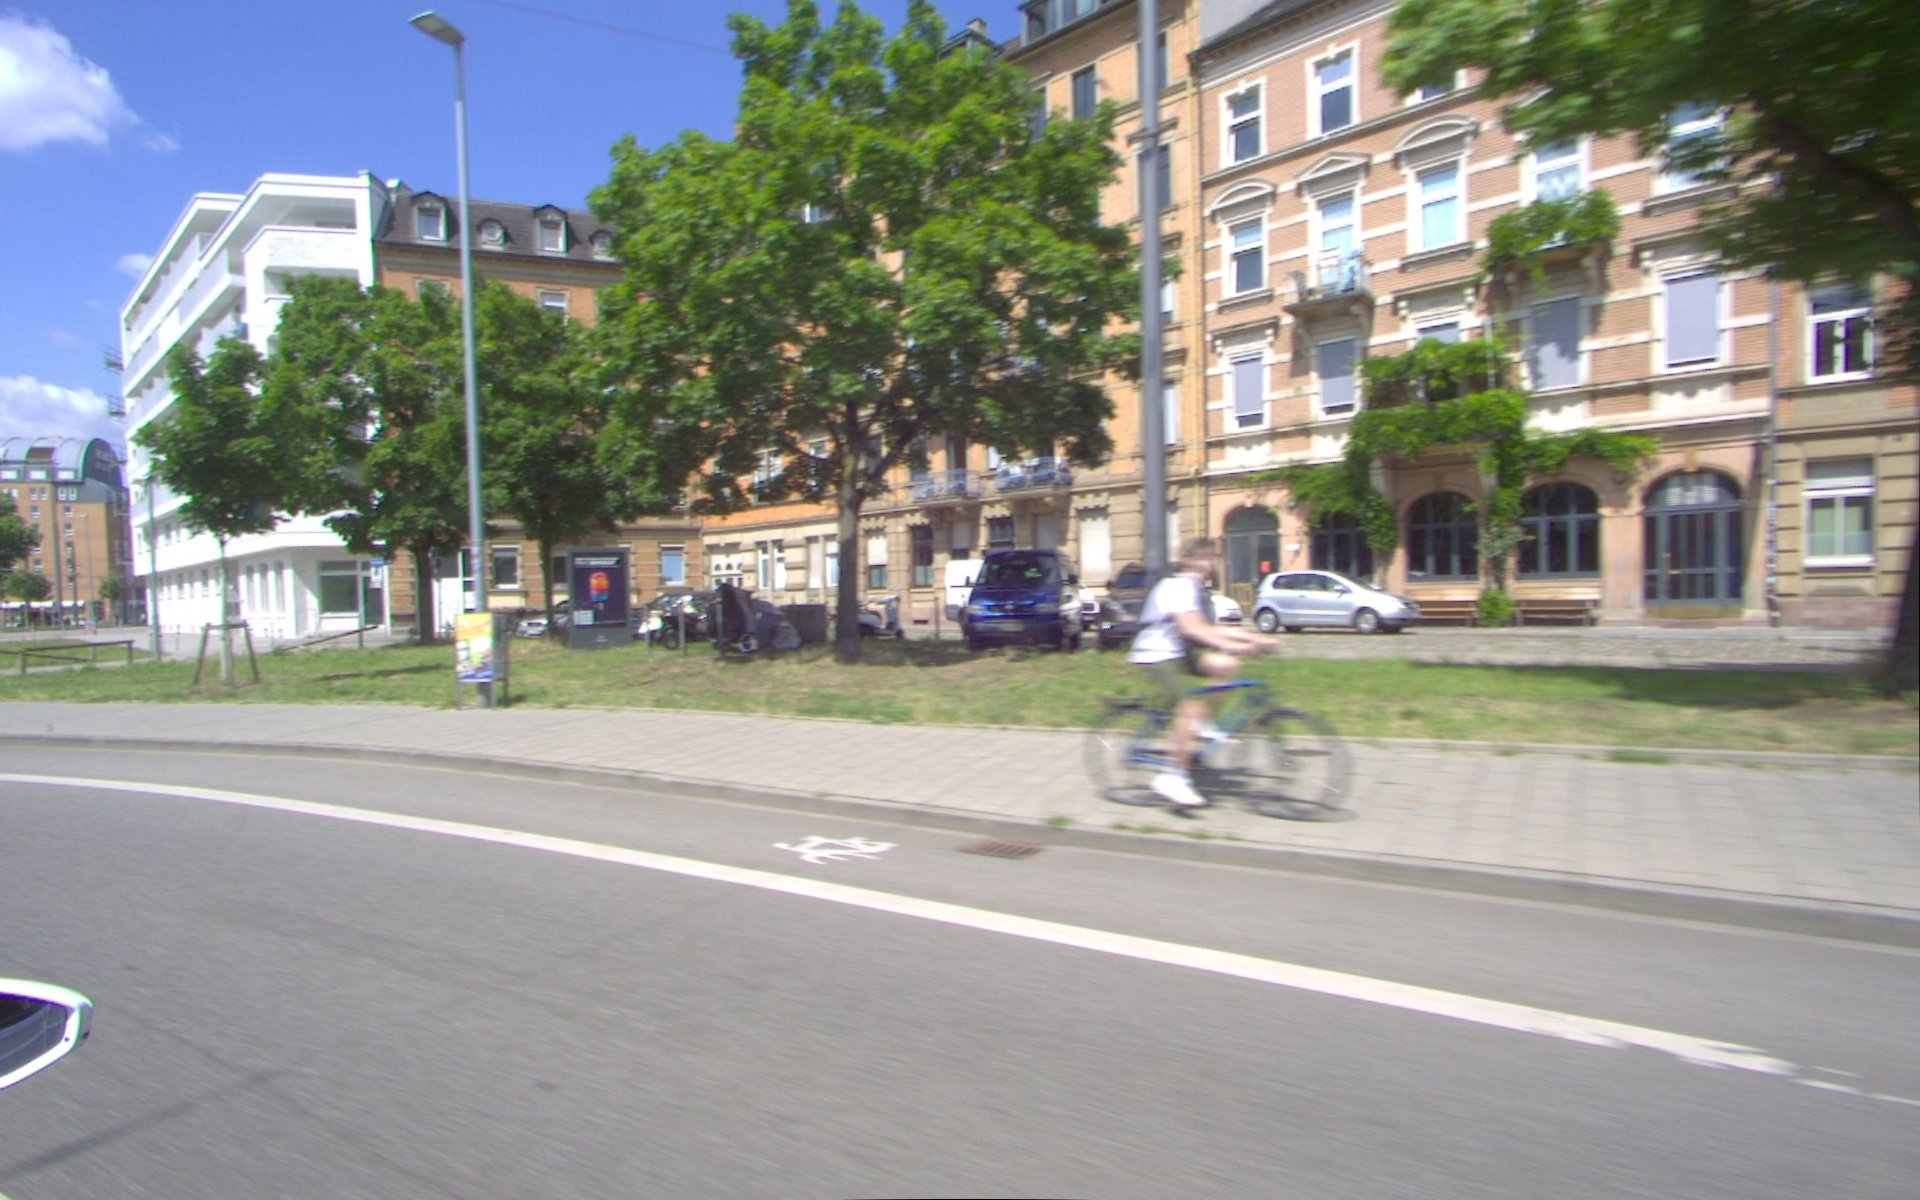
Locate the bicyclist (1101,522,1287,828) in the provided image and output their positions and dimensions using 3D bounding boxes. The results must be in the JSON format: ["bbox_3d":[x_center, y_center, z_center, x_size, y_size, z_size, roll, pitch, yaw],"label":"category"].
[{"bbox_3d":[1.556,0.460,6.615,0.942,1.850,0.692,-1,6,31],"label":"bicyclist"}]

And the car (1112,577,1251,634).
[{"bbox_3d":[5.846,0.152,26.659,1.553,1.422,3.318,-2,1,-44],"label":"car"}]

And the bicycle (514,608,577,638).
[{"bbox_3d":[-14.145,0.769,34.271,0.534,0.968,2.387,-1,-1,19],"label":"bicycle"}]

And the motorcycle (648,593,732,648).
[{"bbox_3d":[-6.115,0.446,22.727,0.633,1.182,1.773,-1,1,42],"label":"motorcycle"}]

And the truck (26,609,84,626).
[{"bbox_3d":[-115.303,2.234,127.622,5.415,2.113,2.000,-1,0,-1],"label":"truck"}]

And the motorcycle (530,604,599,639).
[{"bbox_3d":[-13.296,0.721,33.737,0.798,1.140,2.387,-1,-1,19],"label":"motorcycle"}]

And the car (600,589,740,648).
[{"bbox_3d":[-7.850,0.460,27.531,1.772,1.446,4.254,-1,0,14],"label":"car"}]

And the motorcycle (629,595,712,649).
[{"bbox_3d":[-6.726,0.485,23.302,0.633,1.182,1.773,-1,1,42],"label":"motorcycle"}]

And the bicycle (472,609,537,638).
[{"bbox_3d":[-15.855,0.801,34.905,0.534,0.982,2.387,-1,-1,19],"label":"bicycle"}]

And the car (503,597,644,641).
[{"bbox_3d":[-11.866,0.580,31.055,1.831,1.260,4.157,-1,-1,19],"label":"car"}]

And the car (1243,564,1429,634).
[{"bbox_3d":[8.864,0.020,23.783,3.813,1.511,1.649,-2,-1,44],"label":"car"}]

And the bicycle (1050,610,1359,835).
[{"bbox_3d":[1.600,0.751,6.631,1.813,1.260,0.691,-2,6,32],"label":"bicycle"}]

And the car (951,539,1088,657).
[{"bbox_3d":[1.285,0.001,19.292,1.881,1.952,4.626,-1,-1,13],"label":"car"}]

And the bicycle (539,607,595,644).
[{"bbox_3d":[-9.986,0.651,25.423,1.800,0.913,0.539,-1,0,40],"label":"bicycle"}]

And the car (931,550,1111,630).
[{"bbox_3d":[1.748,-0.219,30.168,5.338,2.207,2.098,-2,-1,44],"label":"car"}]

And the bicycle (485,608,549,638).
[{"bbox_3d":[-15.324,0.789,34.719,0.534,0.982,2.387,-1,-1,19],"label":"bicycle"}]

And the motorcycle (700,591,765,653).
[{"bbox_3d":[-4.667,0.436,20.435,0.631,1.182,1.894,-2,1,-34],"label":"motorcycle"}]

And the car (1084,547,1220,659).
[{"bbox_3d":[3.447,0.074,17.356,1.882,1.678,4.169,-1,-1,17],"label":"car"}]

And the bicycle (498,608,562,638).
[{"bbox_3d":[-14.785,0.781,34.513,0.534,0.982,2.387,-1,-1,19],"label":"bicycle"}]
